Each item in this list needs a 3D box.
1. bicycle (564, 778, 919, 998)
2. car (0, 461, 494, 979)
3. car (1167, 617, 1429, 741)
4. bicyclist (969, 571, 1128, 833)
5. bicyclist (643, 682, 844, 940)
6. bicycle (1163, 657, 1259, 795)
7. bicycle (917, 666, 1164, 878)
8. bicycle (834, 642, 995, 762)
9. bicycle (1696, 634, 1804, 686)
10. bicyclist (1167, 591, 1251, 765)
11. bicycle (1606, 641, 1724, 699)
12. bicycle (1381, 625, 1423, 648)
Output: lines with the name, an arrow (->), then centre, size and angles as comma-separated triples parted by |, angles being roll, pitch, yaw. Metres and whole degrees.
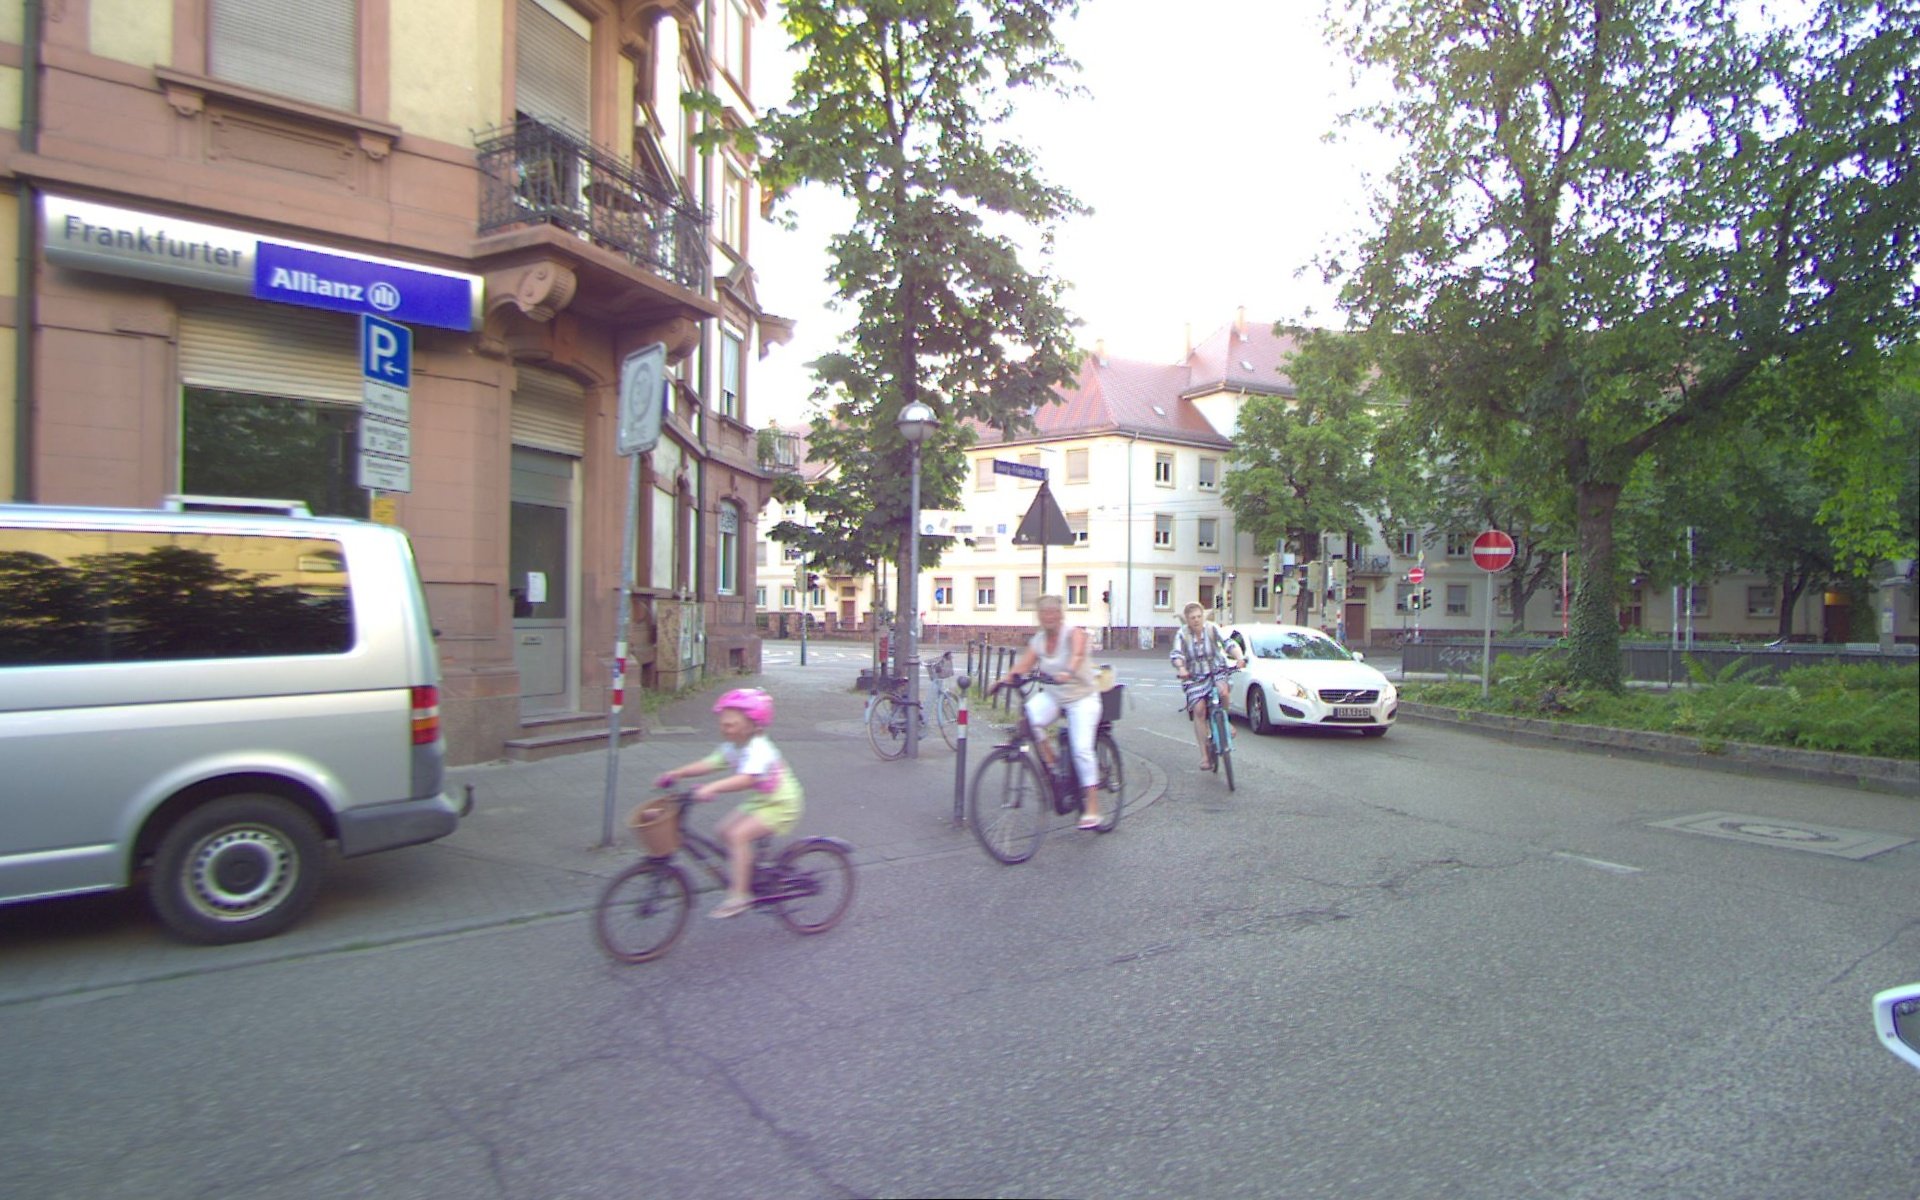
bicycle -> -0.972, 1.233, 4.554 | 1.447, 0.651, 0.646 | 1, -1, -31
car -> -4.958, 0.455, 4.516 | 4.952, 2.084, 2.028 | 1, 1, -34
car -> 4.749, 1.031, 15.007 | 1.962, 1.537, 4.838 | 1, -1, -5
bicyclist -> 0.602, 0.634, 6.723 | 0.714, 1.604, 0.872 | 0, -1, 35
bicyclist -> -0.989, 0.894, 4.543 | 0.722, 0.990, 0.643 | 1, -1, -30
bicycle -> 2.359, 1.142, 9.620 | 0.671, 1.109, 1.810 | 0, -1, 7
bicycle -> 0.617, 1.046, 6.752 | 0.717, 1.109, 2.041 | 0, -1, 35
bicycle -> -0.437, 1.017, 10.501 | 0.553, 1.097, 1.788 | 2, 0, 43
bicycle -> 17.355, 1.303, 22.112 | 1.825, 1.065, 0.545 | 0, -1, 35
bicyclist -> 2.351, 0.713, 9.553 | 0.665, 1.565, 0.876 | 0, -1, 7
bicycle -> 15.372, 1.505, 21.977 | 2.079, 1.167, 0.684 | 0, -1, 34
bicycle -> 23.156, 1.915, 52.635 | 1.882, 1.167, 0.686 | 0, -1, 0
